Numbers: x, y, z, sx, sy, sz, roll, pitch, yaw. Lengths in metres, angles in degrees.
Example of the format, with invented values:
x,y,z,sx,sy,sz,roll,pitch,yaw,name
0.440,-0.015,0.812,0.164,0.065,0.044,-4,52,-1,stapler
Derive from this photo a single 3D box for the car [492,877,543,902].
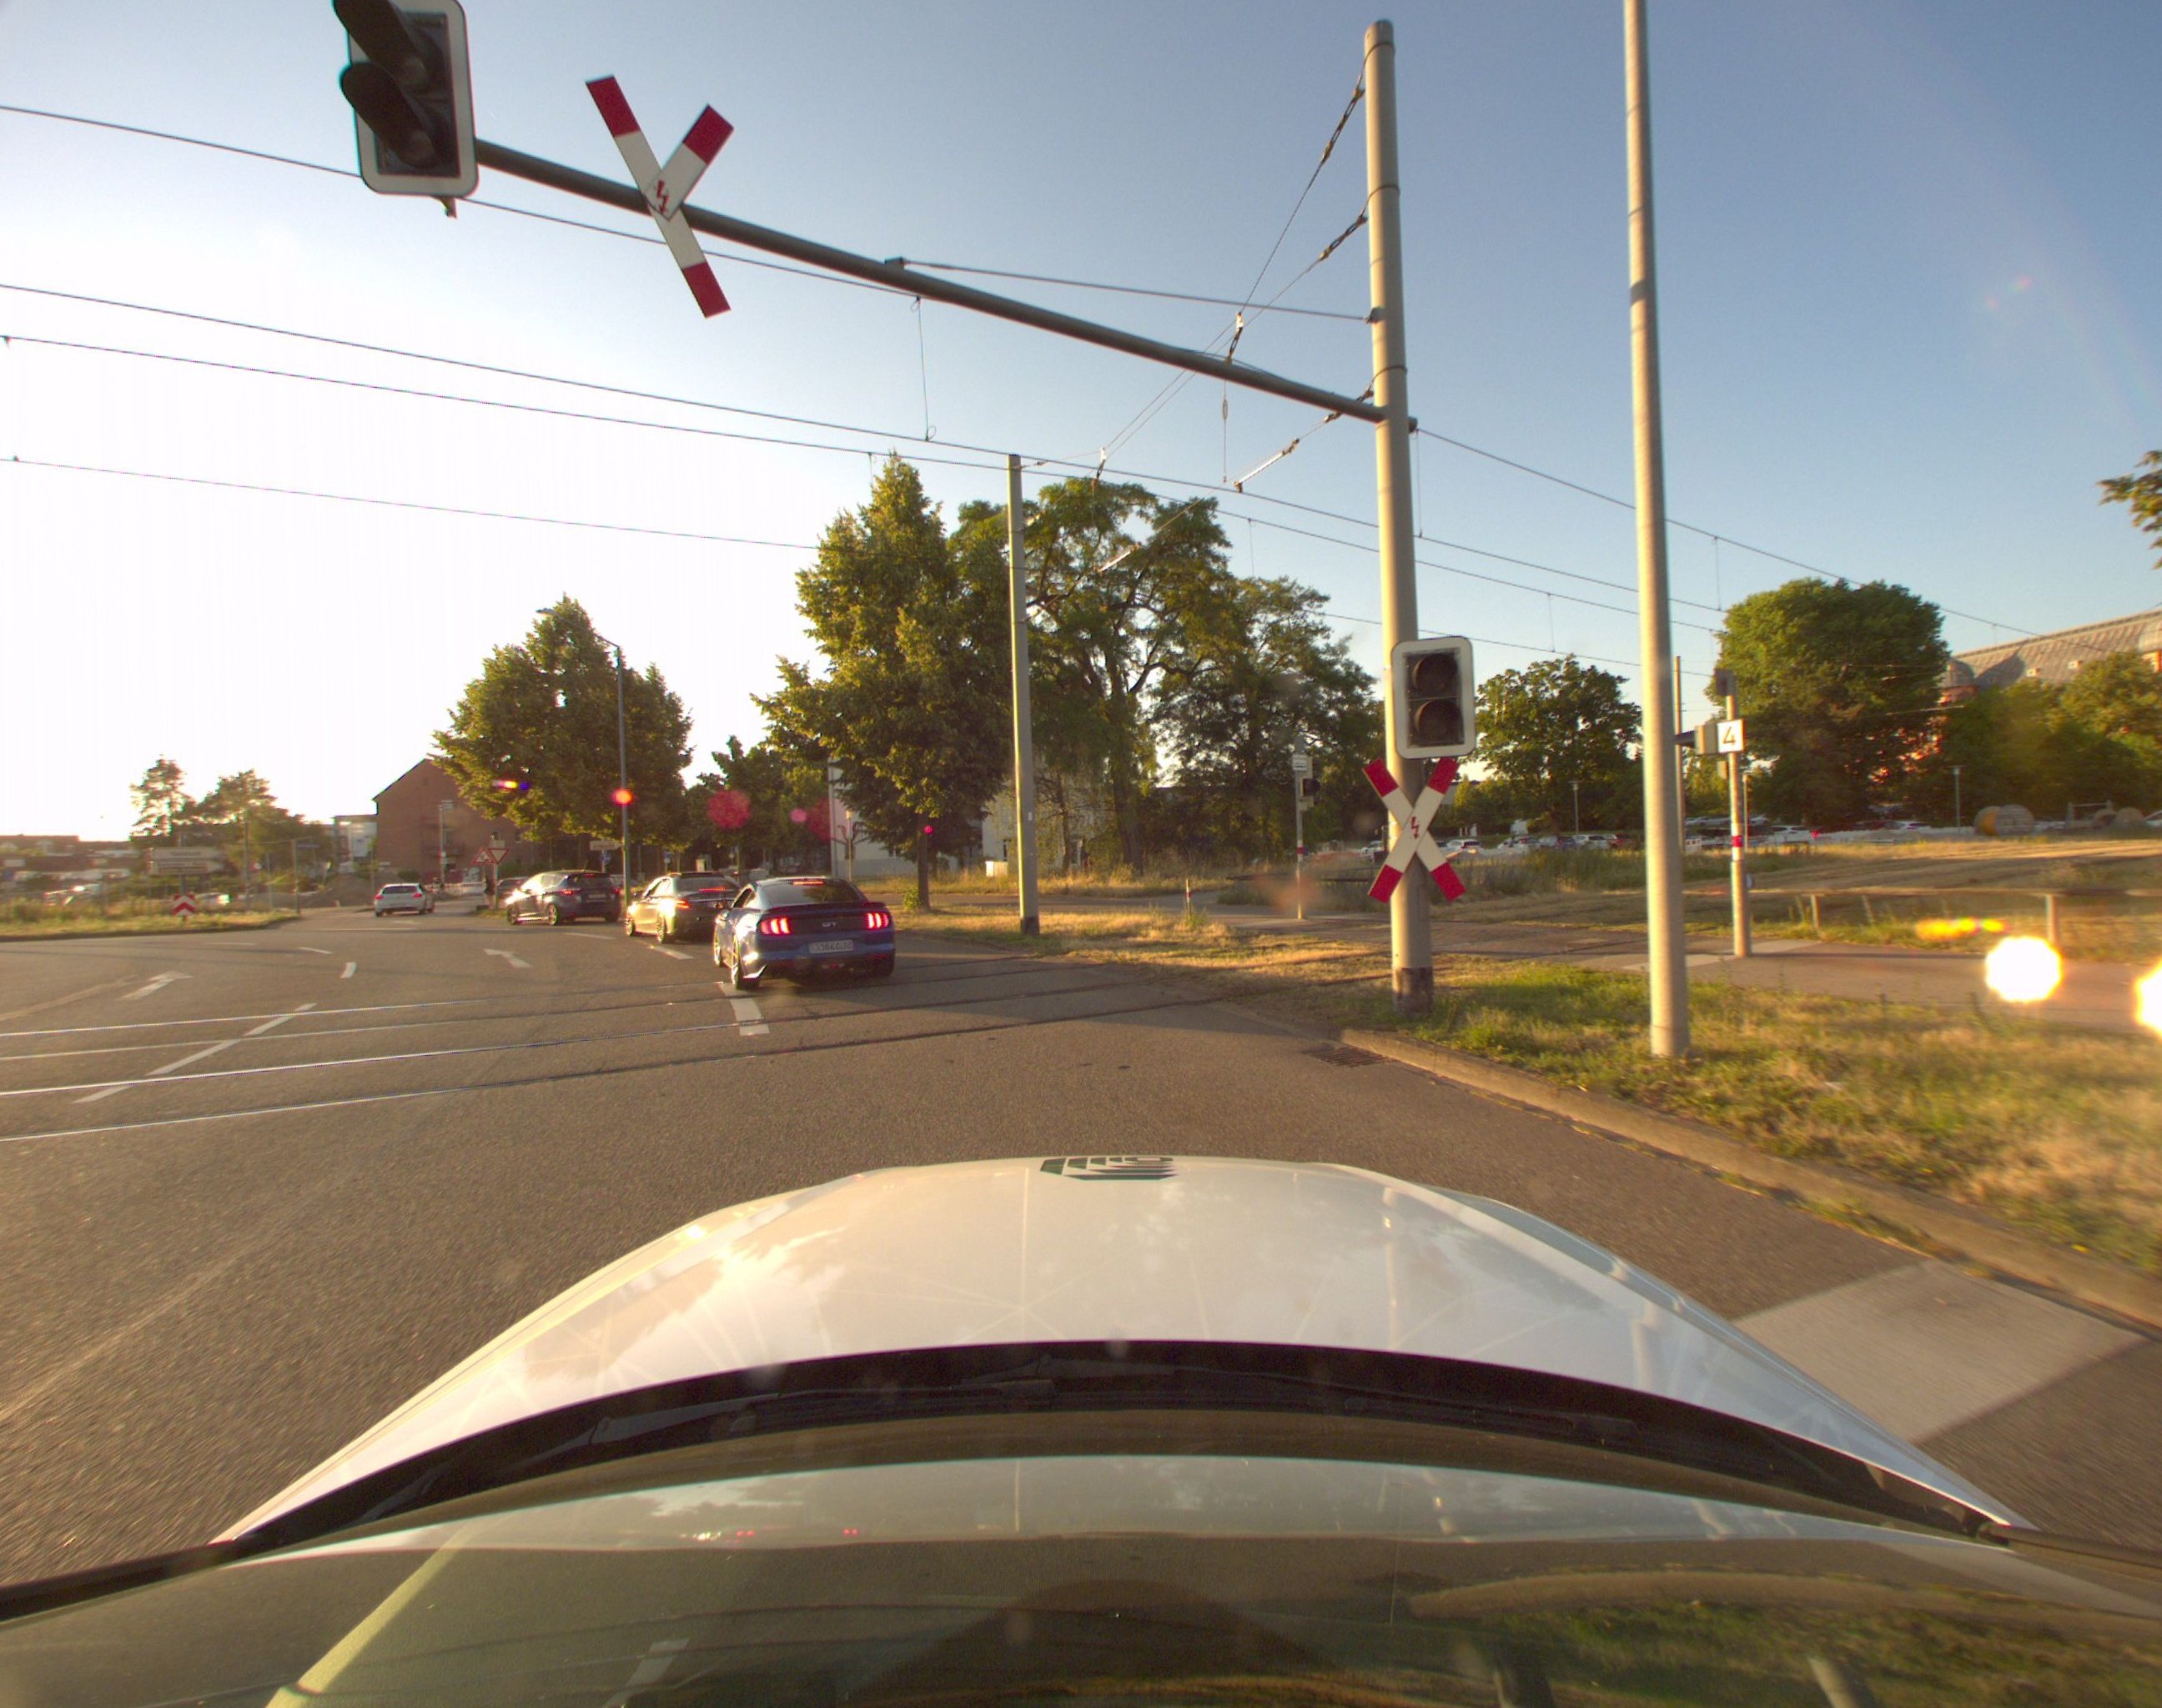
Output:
x,y,z,sx,sy,sz,roll,pitch,yaw,name
-35.959,2.236,52.051,1.884,1.401,3.886,-2,0,-23,car

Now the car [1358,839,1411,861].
x,y,z,sx,sy,sz,roll,pitch,yaw,name
21.823,-0.286,58.767,1.945,1.445,3.990,-2,0,-7,car

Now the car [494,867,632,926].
x,y,z,sx,sy,sz,roll,pitch,yaw,name
-15.688,1.277,24.647,4.024,1.602,1.970,-2,-1,32,car

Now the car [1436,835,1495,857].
x,y,z,sx,sy,sz,roll,pitch,yaw,name
27.540,-0.542,58.497,1.945,1.445,3.990,-2,0,-7,car

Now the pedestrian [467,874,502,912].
x,y,z,sx,sy,sz,roll,pitch,yaw,name
-27.349,1.788,37.362,0.880,1.686,0.847,-2,0,3,pedestrian

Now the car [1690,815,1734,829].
x,y,z,sx,sy,sz,roll,pitch,yaw,name
78.059,-3.933,100.735,3.978,1.553,1.901,-2,0,-3,car

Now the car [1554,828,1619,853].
x,y,z,sx,sy,sz,roll,pitch,yaw,name
36.799,-0.961,59.450,1.945,1.662,3.990,-2,0,-7,car

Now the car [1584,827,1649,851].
x,y,z,sx,sy,sz,roll,pitch,yaw,name
39.457,-1.076,60.120,1.895,1.553,3.990,-2,0,-7,car

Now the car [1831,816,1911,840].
x,y,z,sx,sy,sz,roll,pitch,yaw,name
58.878,-1.929,60.790,1.895,1.553,3.990,-2,0,-7,car

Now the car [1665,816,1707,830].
x,y,z,sx,sy,sz,roll,pitch,yaw,name
77.617,-3.952,104.500,3.978,1.553,1.901,-2,0,-3,car

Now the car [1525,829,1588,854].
x,y,z,sx,sy,sz,roll,pitch,yaw,name
34.577,-0.869,59.374,1.945,1.662,3.990,-2,0,-7,car

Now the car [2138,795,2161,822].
x,y,z,sx,sy,sz,roll,pitch,yaw,name
85.880,-3.620,63.364,1.895,2.095,3.990,-2,0,-7,car

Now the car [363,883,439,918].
x,y,z,sx,sy,sz,roll,pitch,yaw,name
-30.976,2.065,37.212,1.887,1.401,3.880,0,-1,-28,car

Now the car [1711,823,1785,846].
x,y,z,sx,sy,sz,roll,pitch,yaw,name
49.167,-1.398,60.149,1.895,1.553,3.990,-2,0,-7,car

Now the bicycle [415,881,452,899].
x,y,z,sx,sy,sz,roll,pitch,yaw,name
-46.328,2.592,58.308,0.750,1.167,2.408,-2,0,-1,bicycle

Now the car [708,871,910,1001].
x,y,z,sx,sy,sz,roll,pitch,yaw,name
-4.006,0.948,11.418,1.962,1.342,4.628,-1,0,-28,car

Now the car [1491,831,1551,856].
x,y,z,sx,sy,sz,roll,pitch,yaw,name
32.188,-0.736,59.695,1.945,1.662,3.990,-2,0,-7,car

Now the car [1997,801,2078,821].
x,y,z,sx,sy,sz,roll,pitch,yaw,name
73.234,-3.262,62.401,1.794,1.354,3.667,-1,1,-10,car

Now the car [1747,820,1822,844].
x,y,z,sx,sy,sz,roll,pitch,yaw,name
51.996,-1.616,60.294,1.895,1.553,3.990,-2,0,-7,car

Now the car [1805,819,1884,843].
x,y,z,sx,sy,sz,roll,pitch,yaw,name
56.495,-1.671,60.371,1.895,1.553,3.990,-2,0,-7,car

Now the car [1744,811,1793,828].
x,y,z,sx,sy,sz,roll,pitch,yaw,name
78.014,-3.872,92.421,3.980,1.744,1.997,-3,1,-5,car

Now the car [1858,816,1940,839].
x,y,z,sx,sy,sz,roll,pitch,yaw,name
61.311,-1.968,61.141,1.895,1.553,3.990,-2,0,-7,car

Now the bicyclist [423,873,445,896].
x,y,z,sx,sy,sz,roll,pitch,yaw,name
-46.321,2.184,58.309,0.750,1.612,0.977,-2,0,-1,bicyclist

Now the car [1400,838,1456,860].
x,y,z,sx,sy,sz,roll,pitch,yaw,name
24.903,-0.336,58.655,1.945,1.445,3.990,-2,0,-7,car

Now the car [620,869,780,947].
x,y,z,sx,sy,sz,roll,pitch,yaw,name
-8.394,1.087,17.742,1.968,1.427,4.376,-1,-1,-42,car

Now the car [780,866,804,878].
x,y,z,sx,sy,sz,roll,pitch,yaw,name
-37.367,2.286,105.405,1.873,1.401,3.909,-2,0,-5,car
